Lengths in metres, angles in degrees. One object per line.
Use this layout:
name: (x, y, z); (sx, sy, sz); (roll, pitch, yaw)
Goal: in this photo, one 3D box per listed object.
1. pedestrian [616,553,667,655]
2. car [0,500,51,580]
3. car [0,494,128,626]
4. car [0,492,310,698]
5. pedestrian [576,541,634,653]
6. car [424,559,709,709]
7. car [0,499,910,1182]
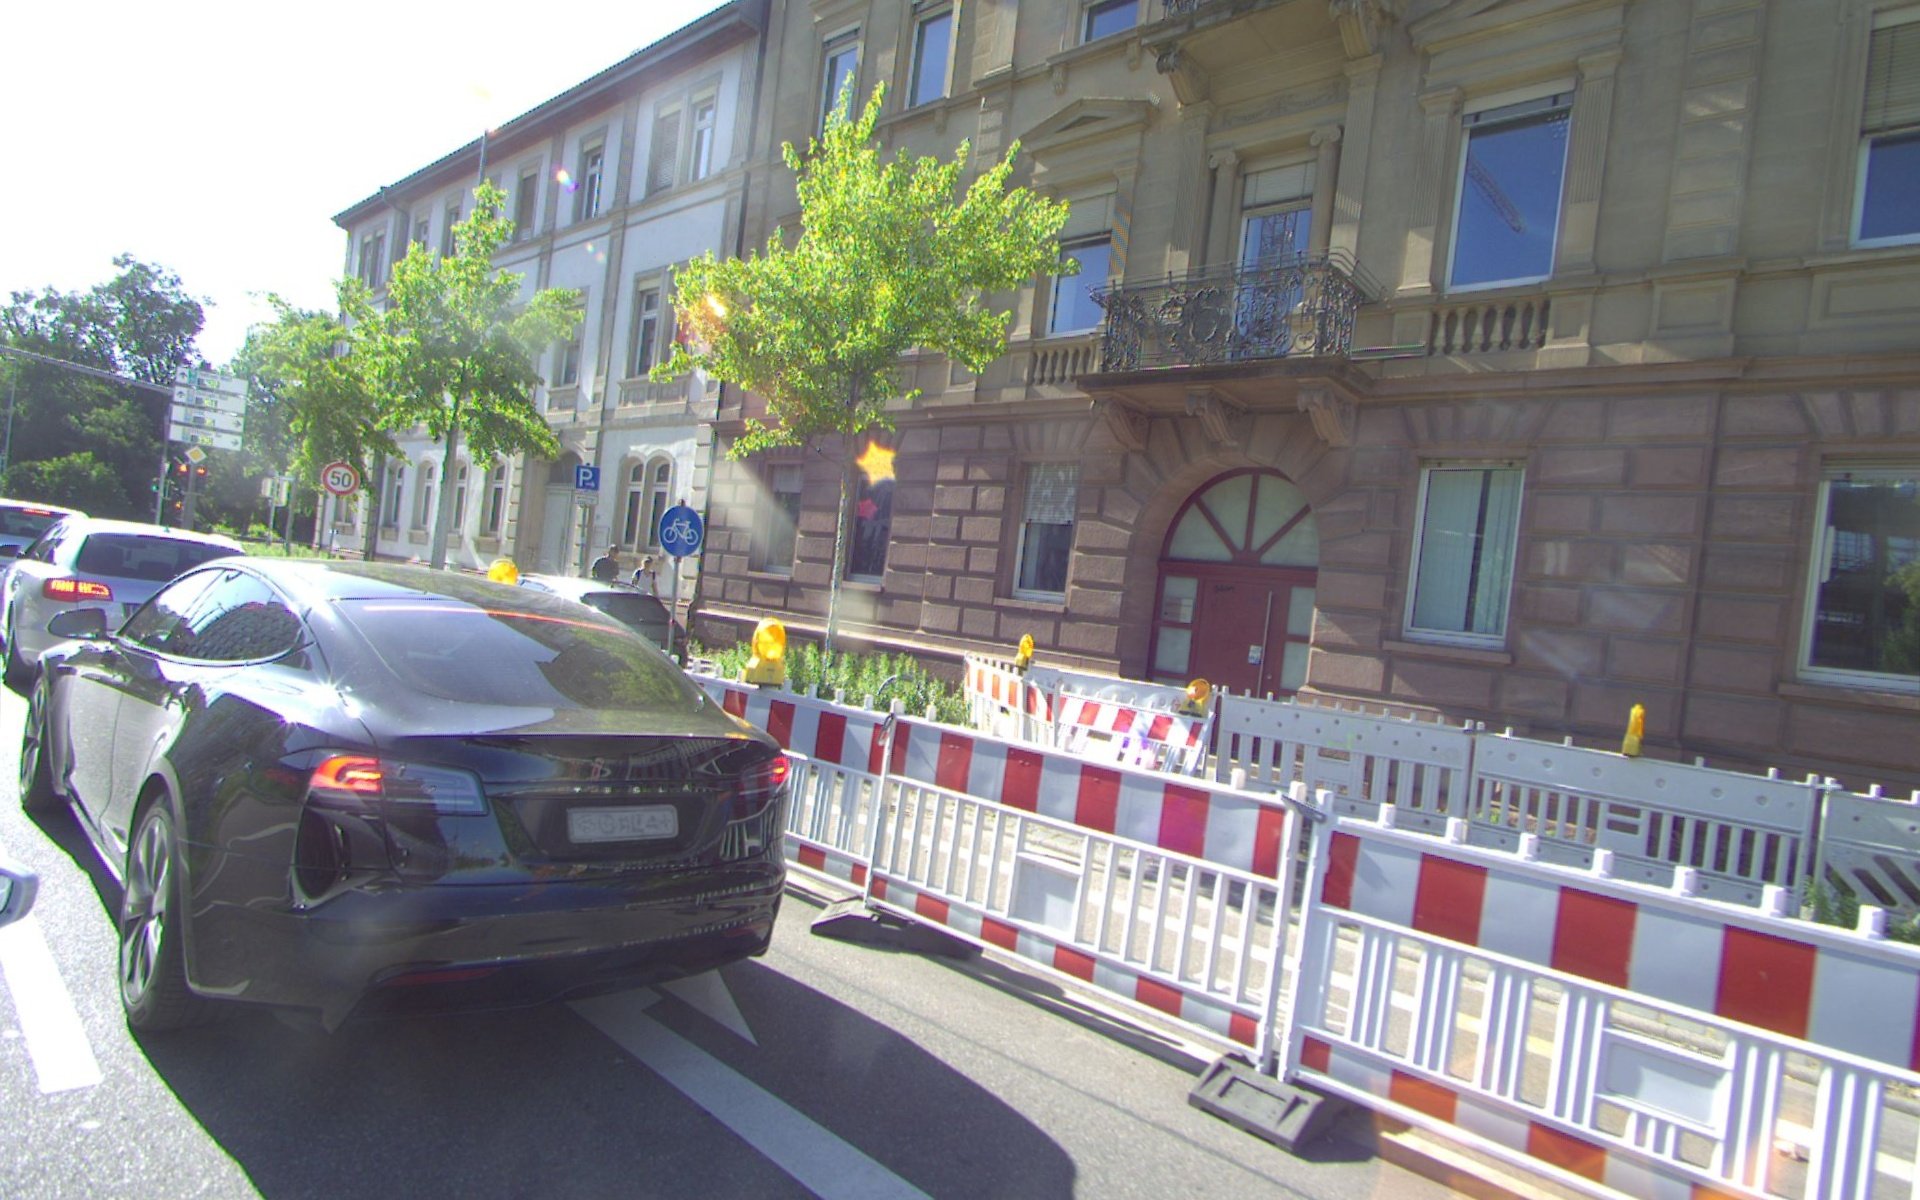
pedestrian: (-5.960, 0.082, 18.821); (0.579, 1.845, 0.561); (7, 3, 41)
car: (-19.985, -1.364, 20.347); (3.795, 1.444, 1.791); (6, -3, 41)
car: (-13.360, -0.681, 14.287); (3.950, 1.545, 1.748); (6, -2, 43)
car: (-8.136, -0.150, 9.782); (4.771, 1.444, 1.746); (7, -2, 42)
pedestrian: (-6.385, -0.043, 18.092); (0.579, 1.938, 0.656); (7, 3, 41)
car: (-5.506, 0.373, 13.741); (4.635, 1.495, 1.644); (6, 2, 42)
car: (-2.596, 0.511, 4.508); (4.461, 1.460, 2.050); (7, -2, 42)
